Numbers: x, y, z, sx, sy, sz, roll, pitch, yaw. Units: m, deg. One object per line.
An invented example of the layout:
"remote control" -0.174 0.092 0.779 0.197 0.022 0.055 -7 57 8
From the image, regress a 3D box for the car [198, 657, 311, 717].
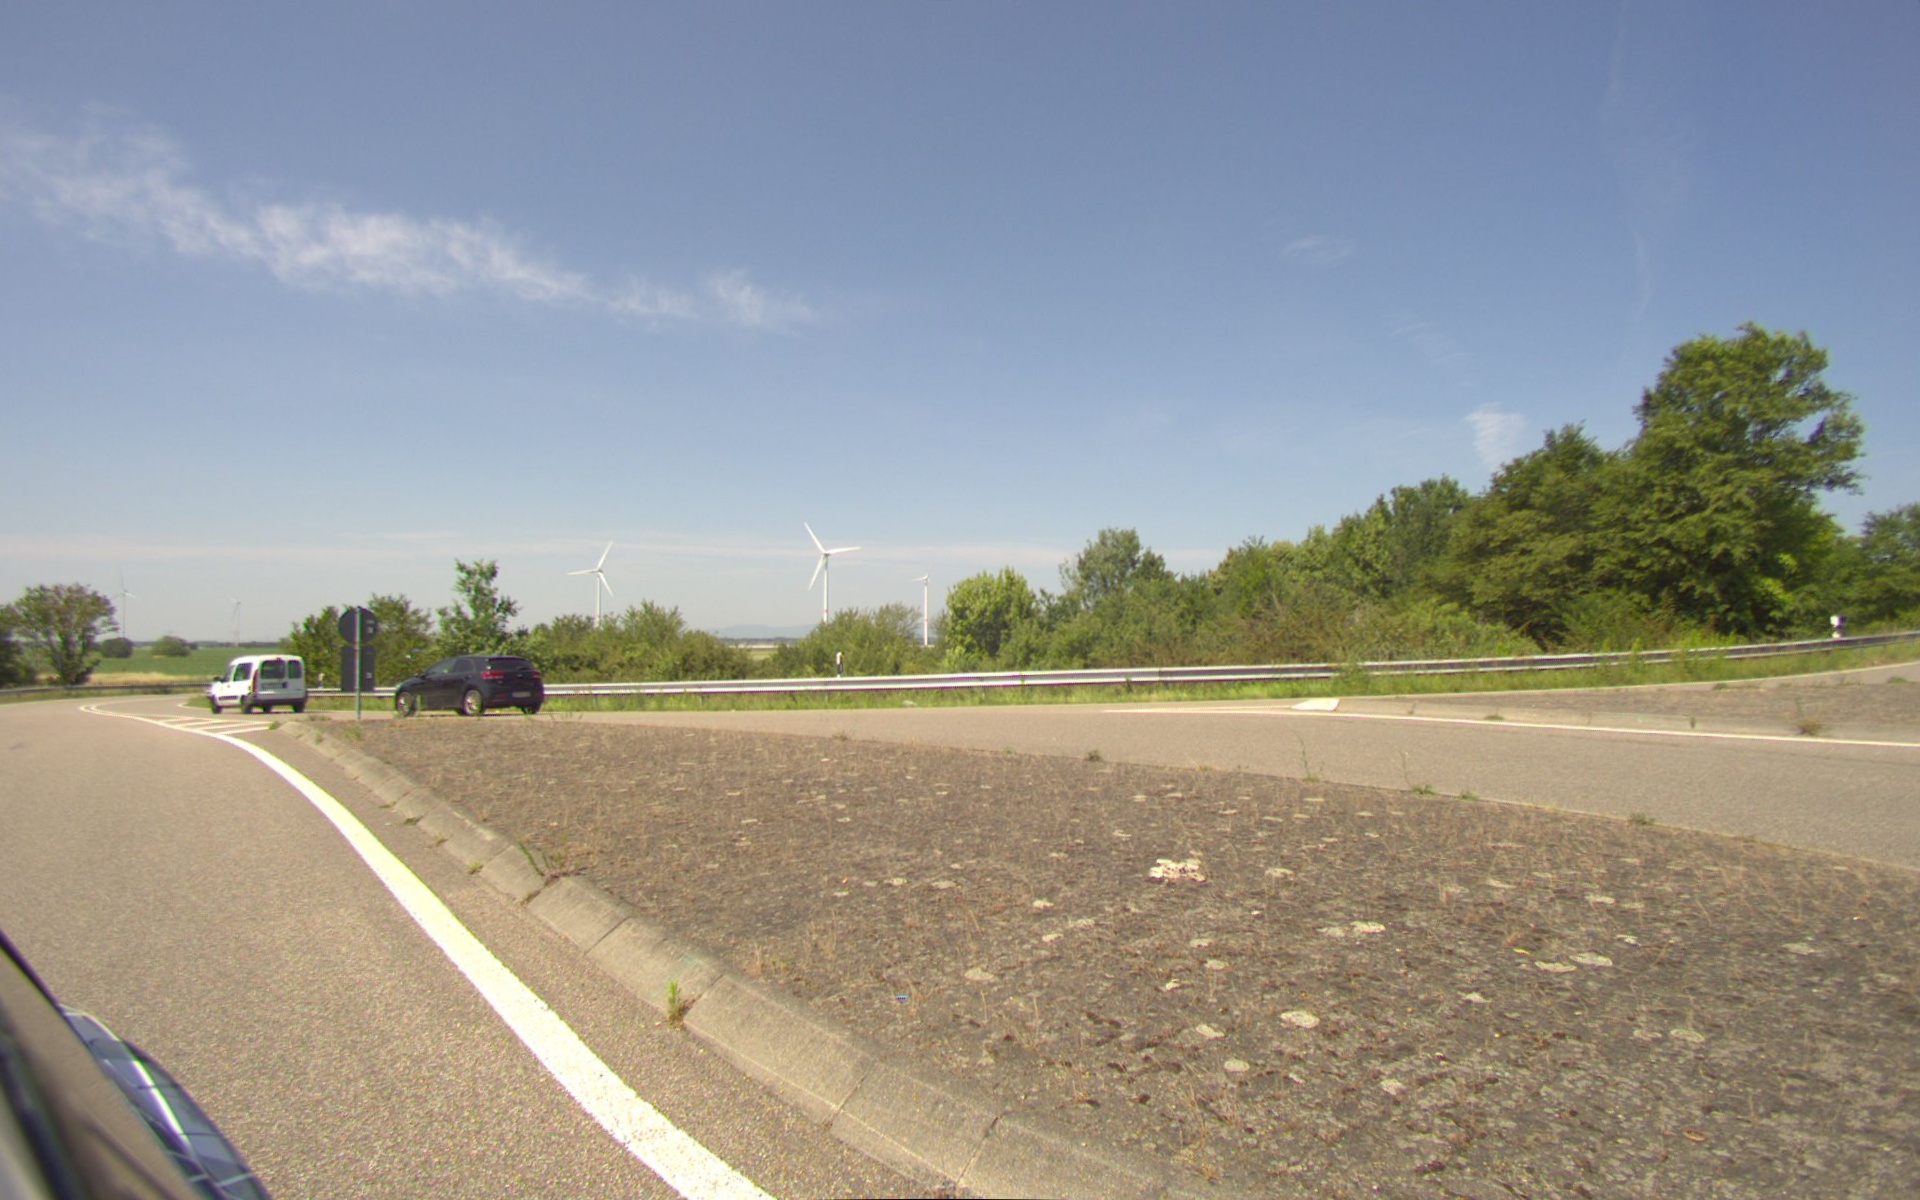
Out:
"car" -22.232 2.752 31.839 4.076 1.775 1.720 -5 -5 37

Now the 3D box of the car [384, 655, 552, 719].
"car" -11.869 2.111 24.389 3.869 1.406 1.697 -4 -6 28
